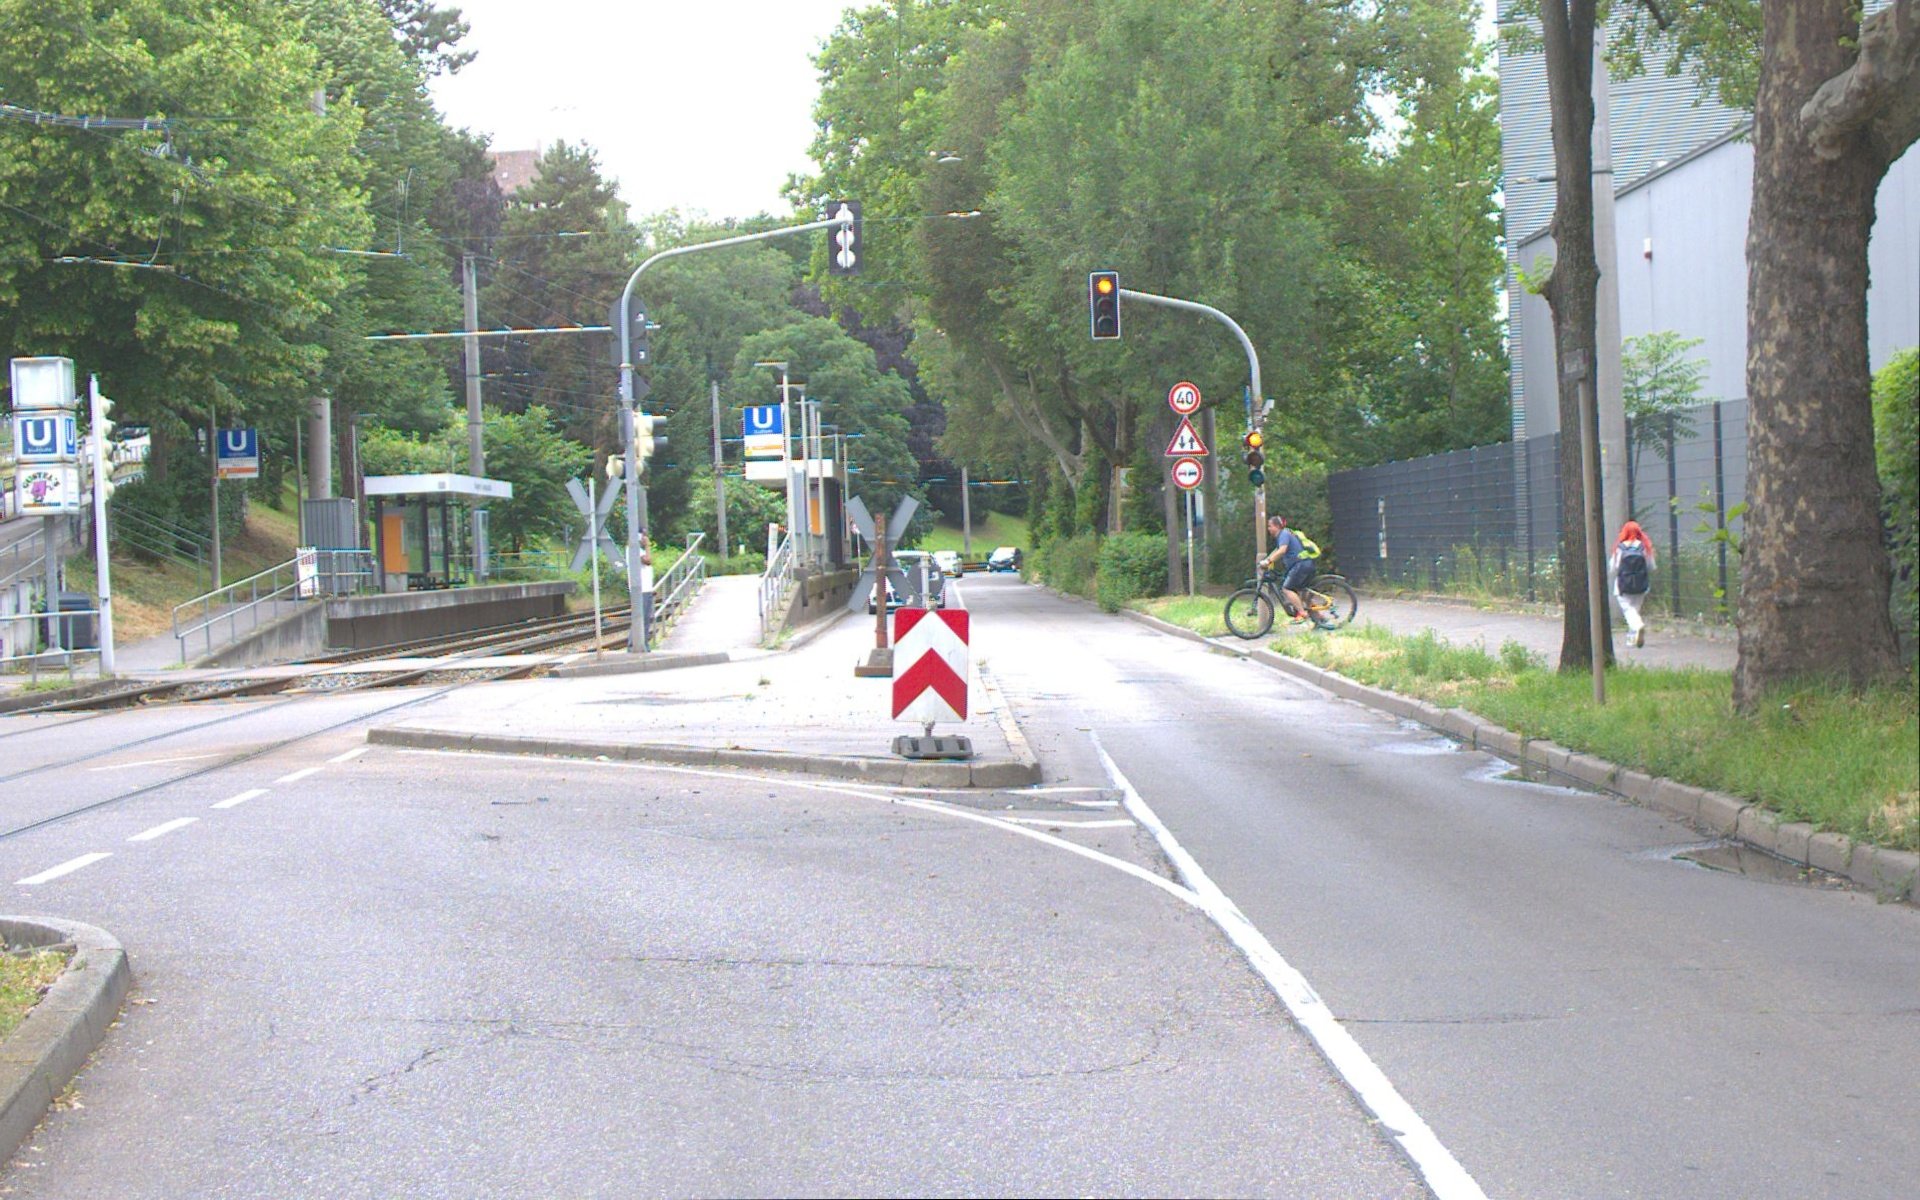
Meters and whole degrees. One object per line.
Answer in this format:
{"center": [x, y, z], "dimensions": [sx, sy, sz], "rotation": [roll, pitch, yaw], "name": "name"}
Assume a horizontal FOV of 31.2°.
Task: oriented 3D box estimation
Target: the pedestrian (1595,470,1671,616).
{"center": [7.368, -0.623, 37.666], "dimensions": [0.666, 1.548, 0.934], "rotation": [-2, 1, 5], "name": "pedestrian"}

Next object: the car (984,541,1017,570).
{"center": [2.604, -2.853, 219.181], "dimensions": [1.993, 1.656, 4.000], "rotation": [4, 1, 1], "name": "car"}

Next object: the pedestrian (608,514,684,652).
{"center": [-4.309, -0.240, 47.252], "dimensions": [0.907, 1.846, 0.771], "rotation": [-2, 1, 0], "name": "pedestrian"}

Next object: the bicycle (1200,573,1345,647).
{"center": [4.604, 0.143, 50.675], "dimensions": [2.075, 1.003, 0.668], "rotation": [-2, 1, 6], "name": "bicycle"}

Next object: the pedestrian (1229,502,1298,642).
{"center": [4.472, -0.417, 50.663], "dimensions": [0.931, 2.007, 0.668], "rotation": [-2, 1, 5], "name": "pedestrian"}

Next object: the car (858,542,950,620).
{"center": [-1.270, -0.459, 78.449], "dimensions": [1.993, 1.656, 4.000], "rotation": [-2, 1, -1], "name": "car"}
